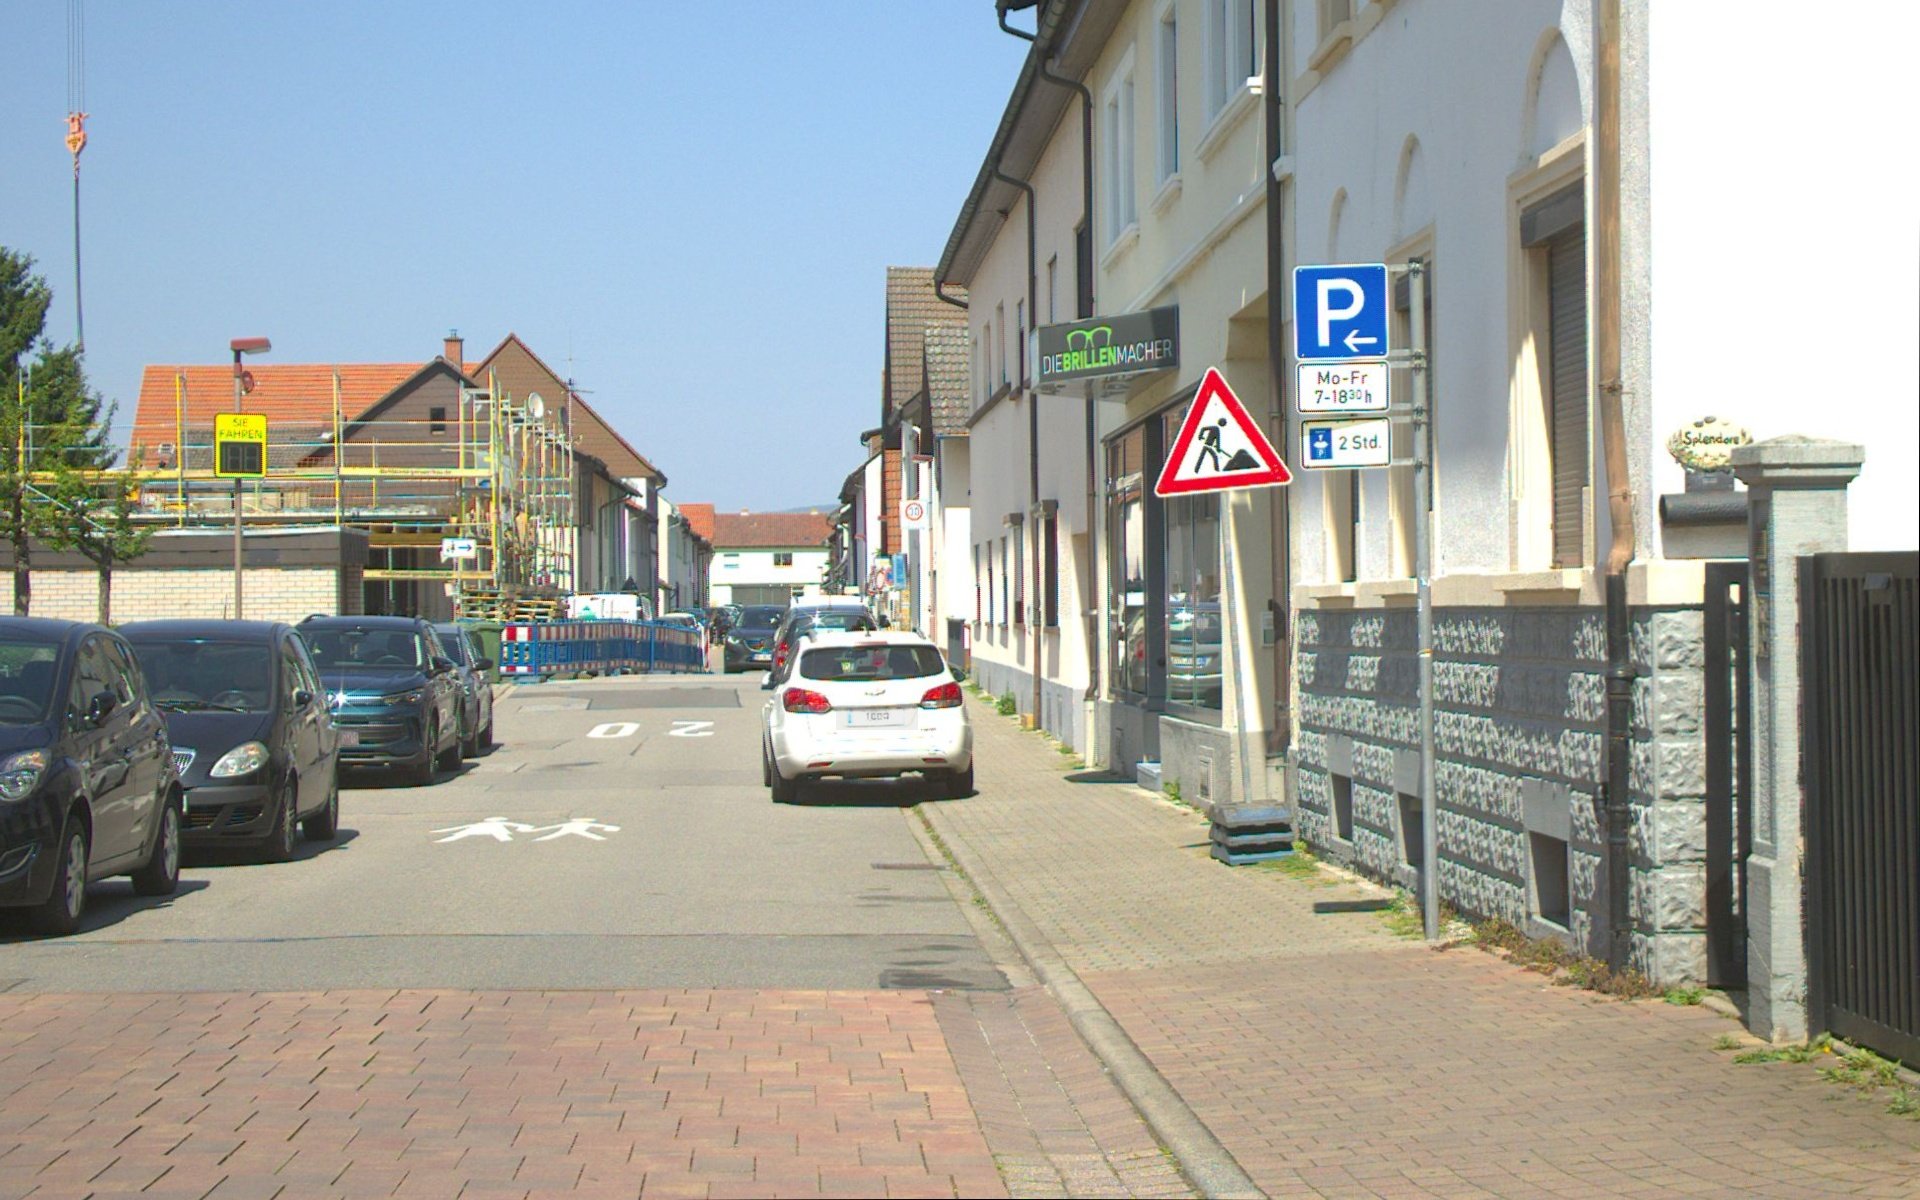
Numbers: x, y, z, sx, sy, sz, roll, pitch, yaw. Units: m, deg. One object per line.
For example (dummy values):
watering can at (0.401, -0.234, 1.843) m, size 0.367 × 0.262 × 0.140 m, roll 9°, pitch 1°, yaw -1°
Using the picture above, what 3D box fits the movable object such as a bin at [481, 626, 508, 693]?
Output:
movable object such as a bin at (-8.119, 1.033, 59.998) m, size 0.431 × 1.152 × 0.364 m, roll 0°, pitch 0°, yaw -12°

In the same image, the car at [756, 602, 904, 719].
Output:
car at (-1.975, 0.867, 51.243) m, size 1.884 × 1.551 × 3.895 m, roll -4°, pitch 0°, yaw -6°

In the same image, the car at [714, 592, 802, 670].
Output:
car at (-4.447, 0.663, 75.611) m, size 1.881 × 1.663 × 4.154 m, roll 0°, pitch 0°, yaw -4°

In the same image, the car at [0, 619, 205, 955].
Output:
car at (-5.361, 0.915, 18.458) m, size 1.815 × 1.599 × 4.024 m, roll 0°, pitch 0°, yaw -1°

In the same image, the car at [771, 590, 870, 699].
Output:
car at (-2.315, 0.700, 56.410) m, size 1.564 × 1.607 × 3.543 m, roll 0°, pitch 2°, yaw -3°

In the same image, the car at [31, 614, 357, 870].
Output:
car at (-5.290, 0.922, 24.139) m, size 1.637 × 1.623 × 3.768 m, roll 0°, pitch 0°, yaw -3°

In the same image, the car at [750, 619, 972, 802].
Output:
car at (-0.871, 0.954, 31.436) m, size 1.886 × 1.537 × 4.243 m, roll 0°, pitch 0°, yaw -1°

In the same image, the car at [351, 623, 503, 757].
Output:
car at (-6.206, 1.014, 40.329) m, size 1.436 × 1.469 × 3.787 m, roll -1°, pitch 0°, yaw -4°

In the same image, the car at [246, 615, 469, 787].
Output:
car at (-6.045, 0.973, 34.901) m, size 1.826 × 1.625 × 4.217 m, roll 0°, pitch 0°, yaw -4°
